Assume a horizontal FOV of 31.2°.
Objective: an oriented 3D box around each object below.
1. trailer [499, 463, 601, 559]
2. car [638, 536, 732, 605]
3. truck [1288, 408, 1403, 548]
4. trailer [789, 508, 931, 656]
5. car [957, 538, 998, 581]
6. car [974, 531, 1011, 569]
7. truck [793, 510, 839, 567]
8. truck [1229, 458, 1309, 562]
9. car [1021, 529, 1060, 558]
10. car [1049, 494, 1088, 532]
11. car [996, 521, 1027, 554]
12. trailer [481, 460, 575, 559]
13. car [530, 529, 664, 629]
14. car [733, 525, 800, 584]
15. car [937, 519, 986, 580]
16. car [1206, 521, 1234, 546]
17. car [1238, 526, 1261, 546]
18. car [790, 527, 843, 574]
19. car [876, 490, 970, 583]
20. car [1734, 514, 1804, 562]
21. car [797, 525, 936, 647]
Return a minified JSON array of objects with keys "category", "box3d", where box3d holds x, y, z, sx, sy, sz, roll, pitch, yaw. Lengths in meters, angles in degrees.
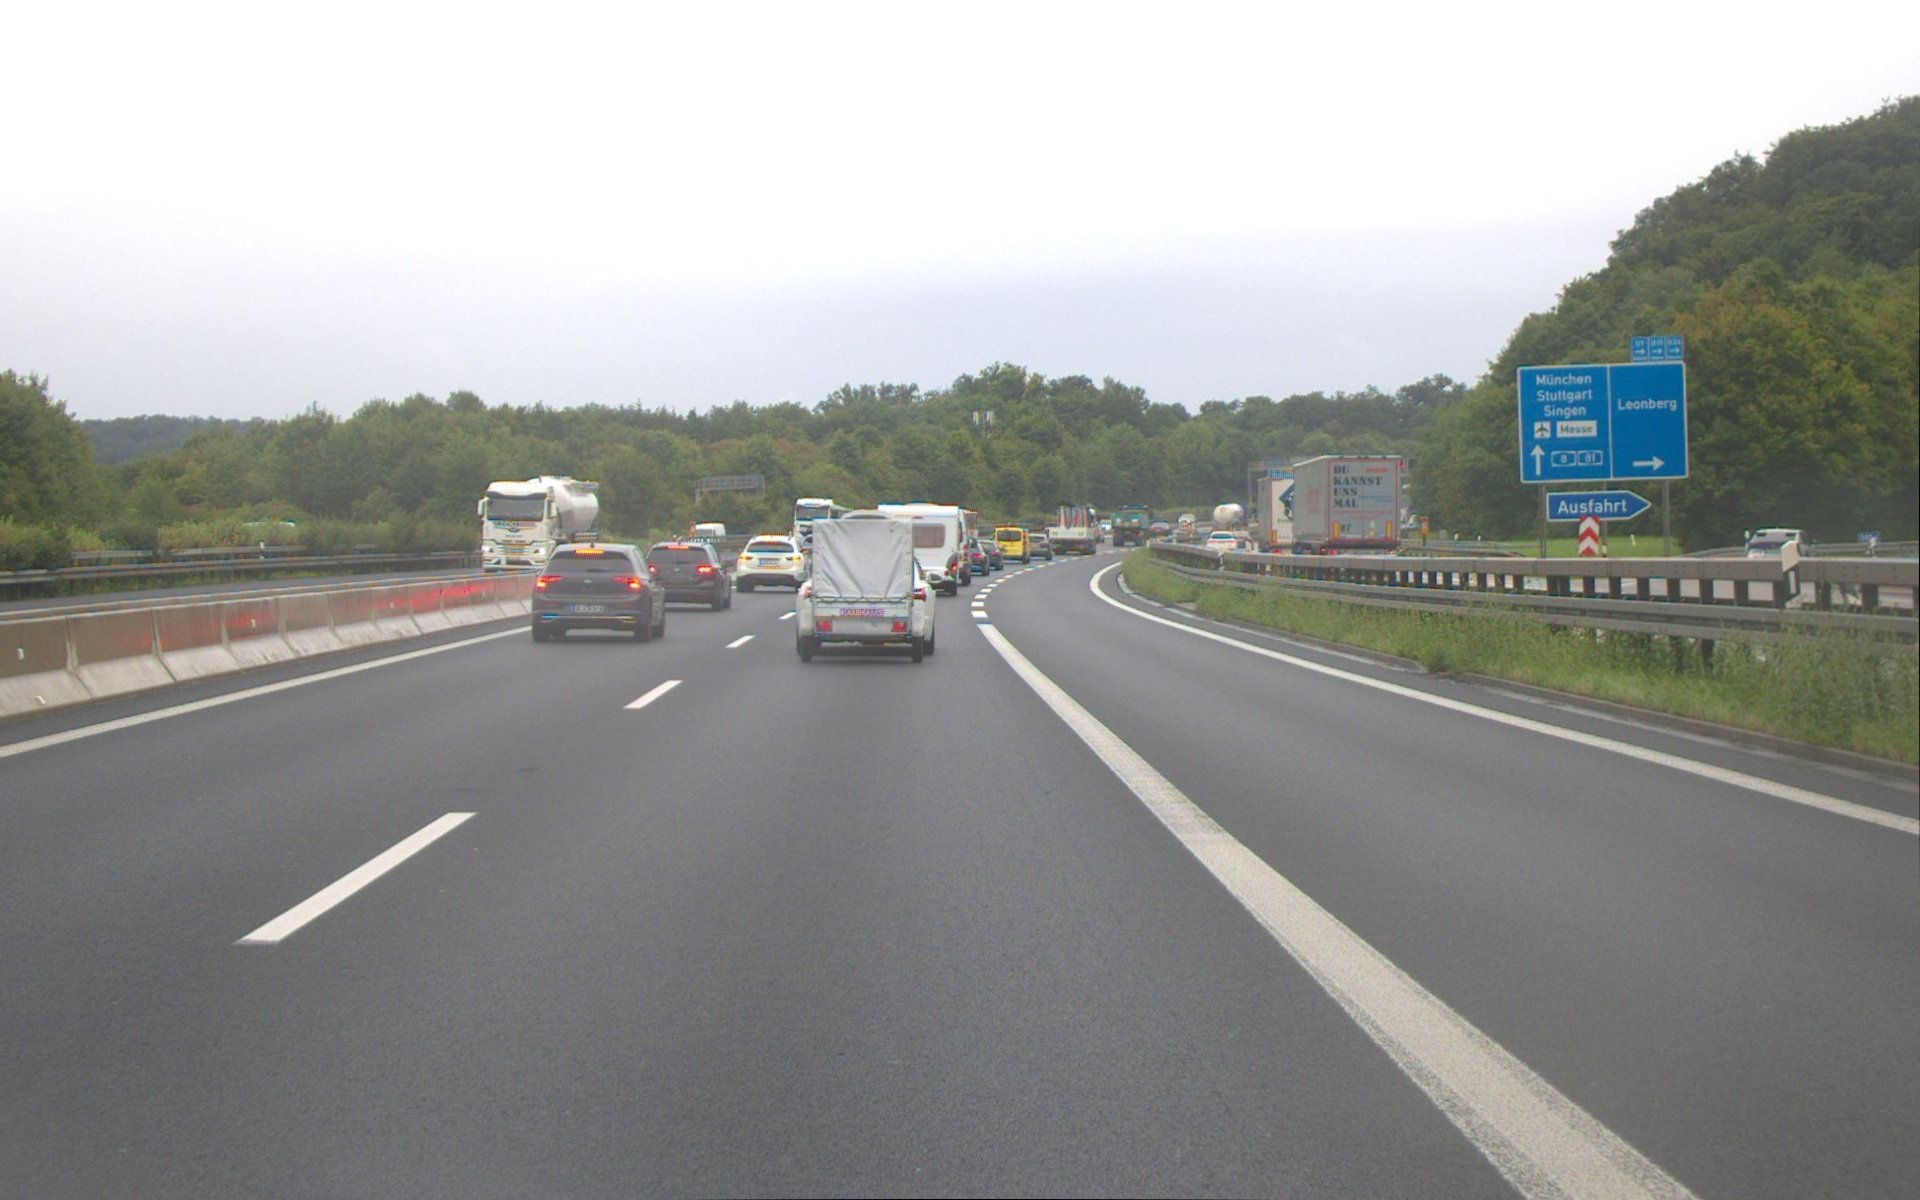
[{"category":"trailer","box3d":[-16.400,-3.514,138.148,2.636,3.723,10.811,0,1,1]},{"category":"car","box3d":[-5.873,-0.645,73.720,1.765,1.451,4.000,0,1,-1]},{"category":"truck","box3d":[13.484,-4.181,121.264,3.216,4.650,13.032,0,1,3]},{"category":"trailer","box3d":[-1.246,-0.245,44.087,1.676,1.806,4.000,0,1,0]},{"category":"car","box3d":[0.758,-1.740,146.202,1.676,1.806,4.000,0,1,1]},{"category":"car","box3d":[1.544,-2.364,162.896,1.676,1.806,4.000,0,1,1]},{"category":"truck","box3d":[-9.682,-4.122,231.300,2.887,3.736,5.945,0,1,-1]},{"category":"truck","box3d":[14.312,-4.108,160.127,3.216,4.650,13.031,0,1,3]},{"category":"car","box3d":[4.855,-3.396,206.889,2.038,1.677,3.999,0,1,5]},{"category":"car","box3d":[7.455,-5.959,236.109,2.516,2.566,5.311,0,1,4]},{"category":"car","box3d":[2.867,-3.447,190.333,1.676,1.806,4.000,0,1,1]},{"category":"trailer","box3d":[-16.546,-3.420,132.023,2.636,3.703,6.492,0,1,2]},{"category":"car","box3d":[-5.442,-0.332,51.878,1.675,1.451,4.000,0,1,-1]},{"category":"car","box3d":[-5.545,-1.311,98.944,1.775,1.634,4.043,0,1,-1]},{"category":"car","box3d":[0.057,-1.760,119.763,1.676,2.060,4.000,0,1,0]},{"category":"car","box3d":[15.919,-4.060,210.354,1.676,1.451,3.999,0,1,5]},{"category":"car","box3d":[21.250,-4.722,252.290,1.676,1.451,3.999,0,1,5]},{"category":"car","box3d":[-5.076,-1.757,121.682,1.775,1.634,4.043,0,1,-1]},{"category":"car","box3d":[-1.011,-1.819,98.580,2.507,2.576,5.699,0,1,1]},{"category":"car","box3d":[24.717,-1.883,104.932,1.677,1.451,3.996,0,1,19]},{"category":"car","box3d":[-1.260,-0.223,47.922,1.818,1.610,4.778,0,1,0]}]
